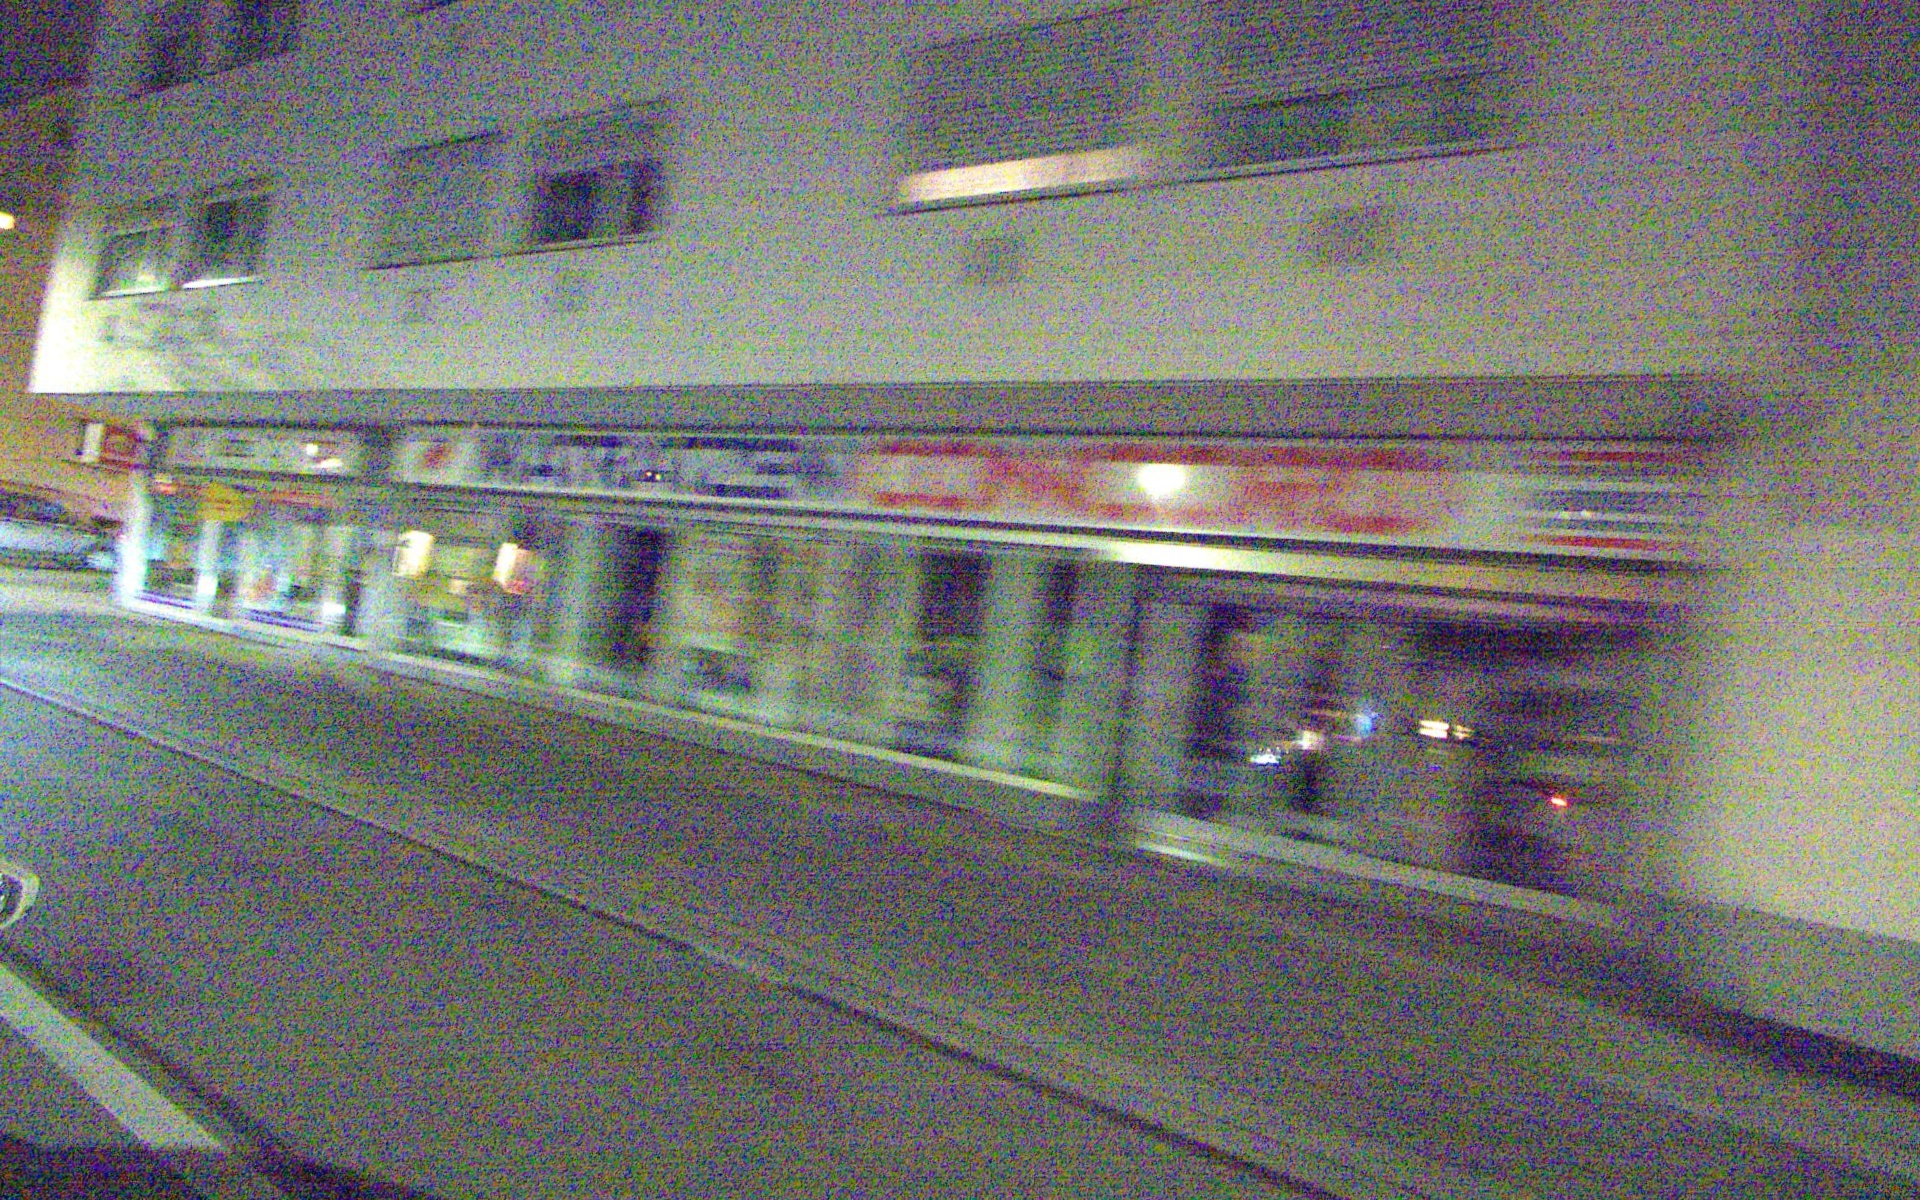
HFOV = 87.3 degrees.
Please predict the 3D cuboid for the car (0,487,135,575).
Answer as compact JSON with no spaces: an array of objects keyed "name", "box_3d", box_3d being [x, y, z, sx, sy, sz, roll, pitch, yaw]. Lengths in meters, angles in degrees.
[{"name":"car","box_3d":[-19.175,-1.481,20.221,1.789,1.544,3.512,7,0,28]}]
